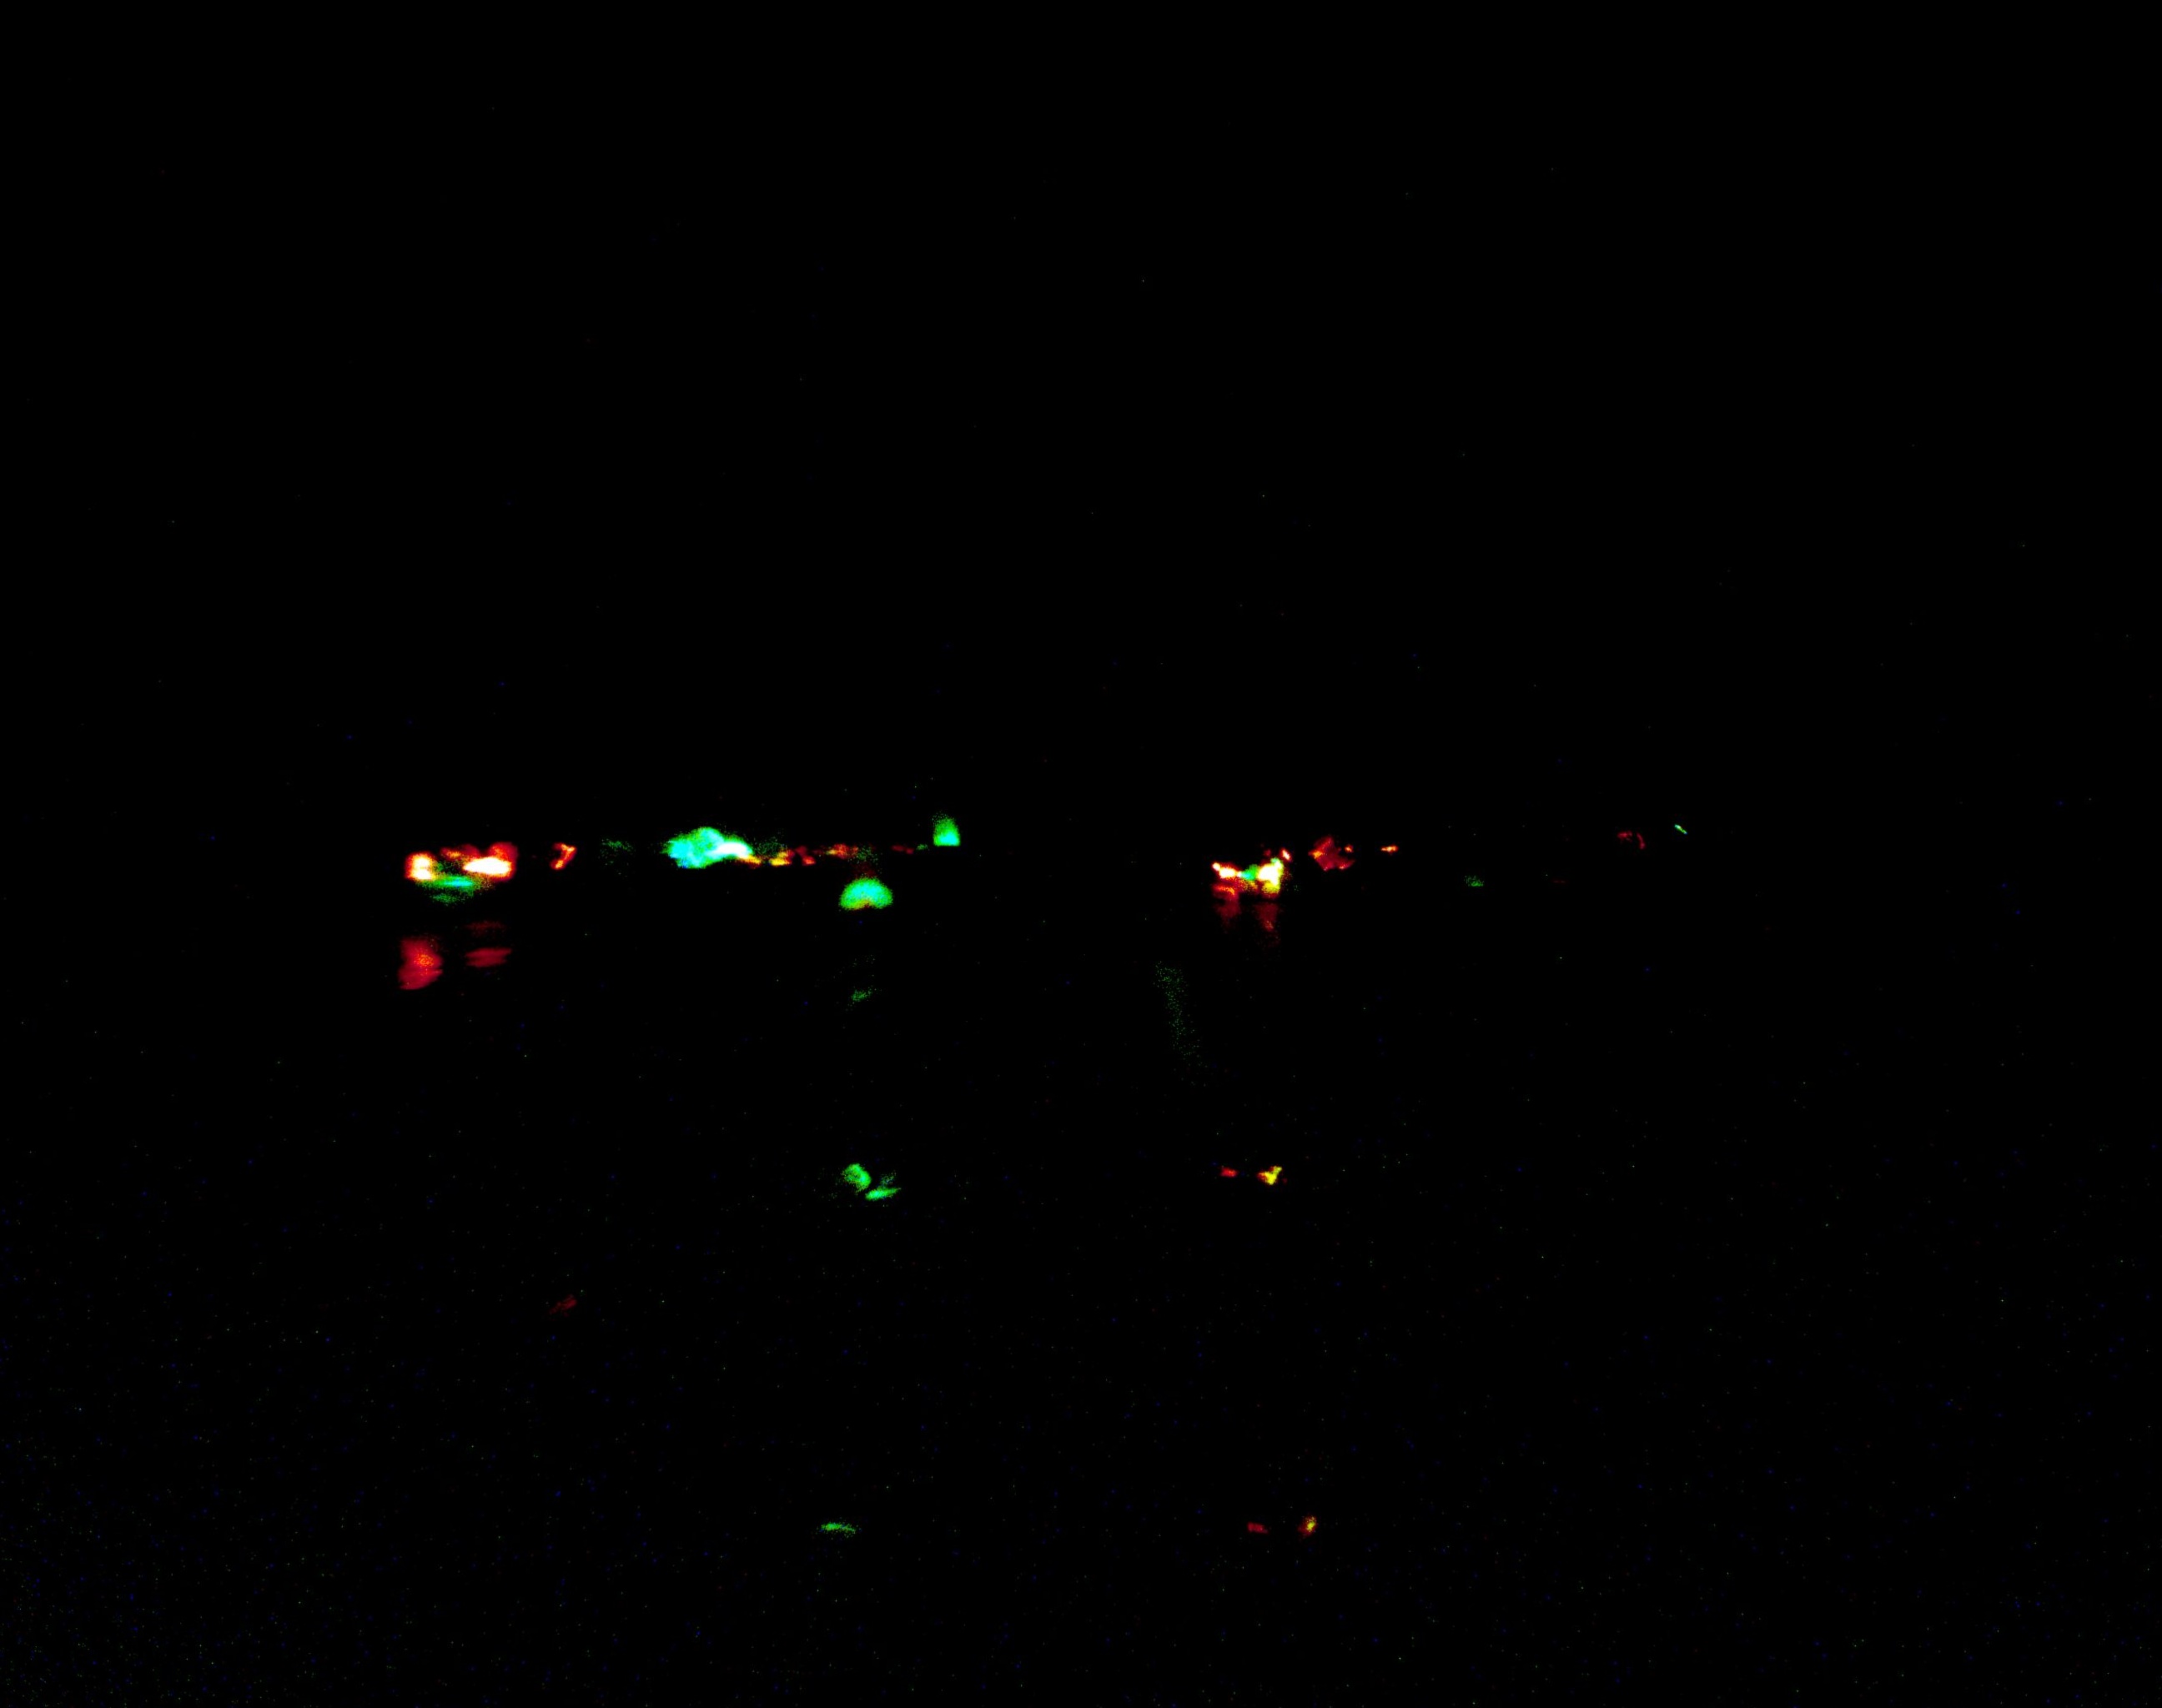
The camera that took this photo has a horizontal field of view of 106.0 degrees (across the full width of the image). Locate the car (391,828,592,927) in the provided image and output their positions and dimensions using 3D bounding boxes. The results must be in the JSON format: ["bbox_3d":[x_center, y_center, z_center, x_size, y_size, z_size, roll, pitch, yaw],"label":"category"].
[{"bbox_3d":[-13.458,0.486,19.013,2.128,2.013,4.624,1,0,-13],"label":"car"}]

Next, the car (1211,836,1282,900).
[{"bbox_3d":[5.236,0.405,25.705,1.980,1.807,4.013,1,0,12],"label":"car"}]

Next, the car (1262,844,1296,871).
[{"bbox_3d":[13.905,0.244,57.036,1.977,1.807,4.019,1,0,18],"label":"car"}]

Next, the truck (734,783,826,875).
[{"bbox_3d":[-20.599,-1.573,56.686,4.213,5.648,11.422,1,0,-12],"label":"truck"}]
